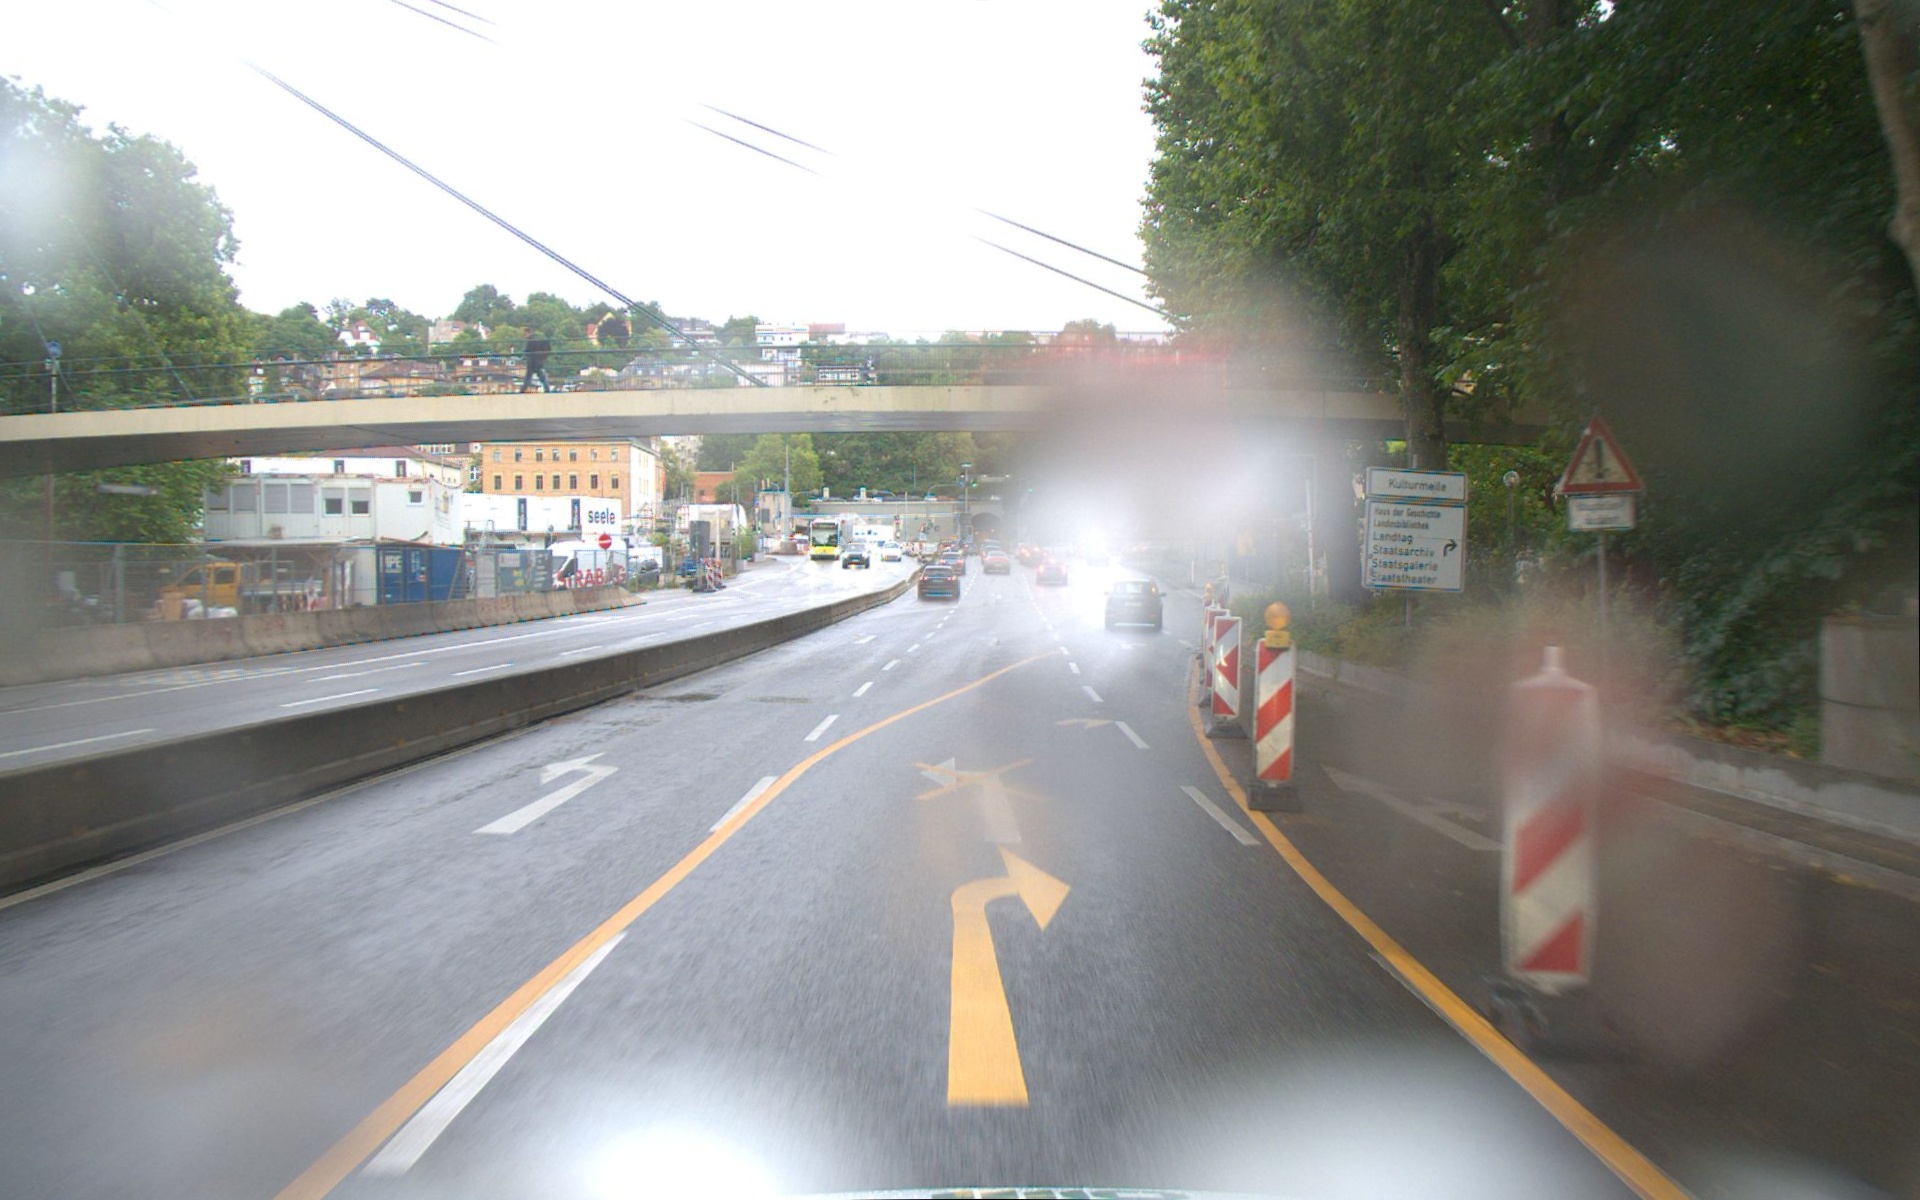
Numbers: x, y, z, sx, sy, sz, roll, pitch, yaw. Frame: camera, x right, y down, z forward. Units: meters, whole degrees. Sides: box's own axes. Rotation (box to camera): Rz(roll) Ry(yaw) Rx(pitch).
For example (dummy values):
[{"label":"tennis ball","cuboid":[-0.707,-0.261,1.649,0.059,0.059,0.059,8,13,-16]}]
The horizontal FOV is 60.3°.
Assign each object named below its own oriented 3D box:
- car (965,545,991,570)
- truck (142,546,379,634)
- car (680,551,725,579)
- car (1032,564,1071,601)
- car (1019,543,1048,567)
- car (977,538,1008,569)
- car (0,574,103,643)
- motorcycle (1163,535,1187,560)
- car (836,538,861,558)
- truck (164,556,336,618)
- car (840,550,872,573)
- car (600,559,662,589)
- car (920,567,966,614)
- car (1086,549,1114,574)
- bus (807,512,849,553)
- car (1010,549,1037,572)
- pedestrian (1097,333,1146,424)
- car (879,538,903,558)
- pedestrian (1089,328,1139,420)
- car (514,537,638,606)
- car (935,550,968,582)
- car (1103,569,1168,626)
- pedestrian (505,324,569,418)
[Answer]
[{"label":"car","cuboid":[1.406,-3.437,133.703,1.953,1.902,3.999,-1,0,-1]},{"label":"truck","cuboid":[-21.508,-0.320,51.164,6.157,2.495,2.690,-1,0,-7]},{"label":"car","cuboid":[-16.416,-2.248,105.730,1.951,1.649,4.003,-1,3,4]},{"label":"car","cuboid":[5.356,-0.999,97.409,2.061,2.086,4.000,-1,0,0]},{"label":"car","cuboid":[5.818,-3.539,131.398,1.953,1.728,3.999,-1,0,-2]},{"label":"car","cuboid":[2.238,-3.197,114.655,2.010,2.049,3.999,-1,0,-1]},{"label":"car","cuboid":[-24.101,0.230,41.270,4.340,1.656,1.955,-1,1,-9]},{"label":"motorcycle","cuboid":[18.036,-4.423,139.076,1.757,2.048,3.816,-1,3,4]},{"label":"car","cuboid":[-10.292,-4.791,152.756,1.998,1.691,4.932,-1,0,-1]},{"label":"truck","cuboid":[-25.285,-0.462,59.034,5.143,2.048,2.162,-1,1,-4]},{"label":"car","cuboid":[-7.644,-2.858,121.710,2.039,1.659,4.853,-1,2,-1]},{"label":"car","cuboid":[-18.141,-1.412,91.415,1.724,1.593,4.687,-1,0,10]},{"label":"car","cuboid":[-0.741,-0.440,75.724,1.975,2.049,4.000,-1,0,0]},{"label":"car","cuboid":[11.704,-3.243,138.330,1.953,2.048,4.000,0,1,0]},{"label":"bus","cuboid":[-11.121,-5.619,139.703,2.748,3.240,8.808,-1,1,0]},{"label":"car","cuboid":[5.258,-3.275,137.699,1.953,1.728,3.999,-1,0,-2]},{"label":"pedestrian","cuboid":[4.080,-5.568,41.697,1.123,2.096,1.060,-1,0,8]},{"label":"car","cuboid":[-5.676,-4.327,136.778,1.674,1.515,3.451,-1,0,2]},{"label":"pedestrian","cuboid":[3.786,-5.542,40.691,1.123,2.096,1.060,-1,0,8]},{"label":"car","cuboid":[-17.176,-1.279,74.319,1.955,2.925,6.045,-1,0,27]},{"label":"car","cuboid":[-0.563,-2.264,110.337,1.952,2.049,4.002,-1,0,3]},{"label":"car","cuboid":[5.119,-0.093,48.578,1.774,1.553,4.003,-2,0,5]},{"label":"pedestrian","cuboid":[-10.170,-5.493,39.806,1.123,2.096,1.060,-1,0,8]}]
